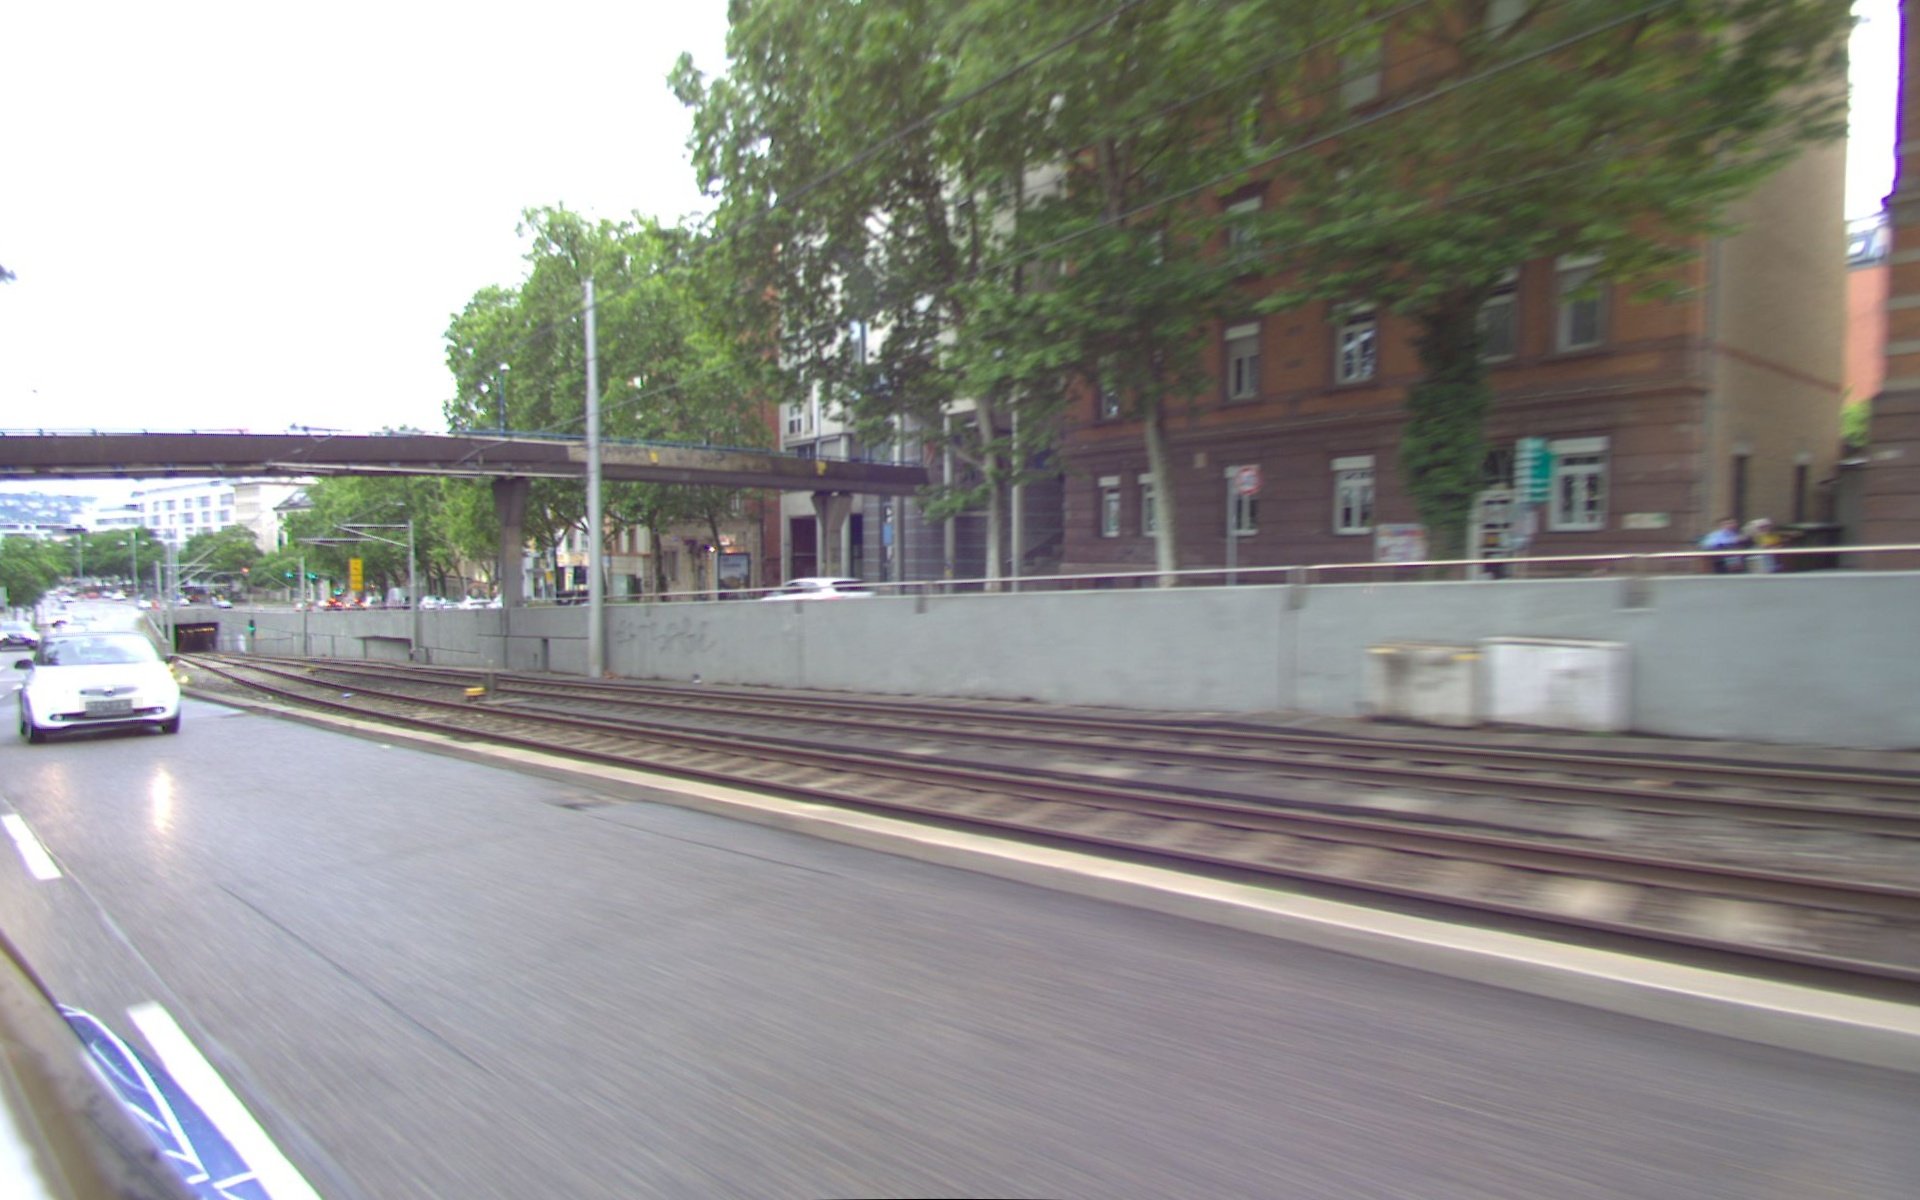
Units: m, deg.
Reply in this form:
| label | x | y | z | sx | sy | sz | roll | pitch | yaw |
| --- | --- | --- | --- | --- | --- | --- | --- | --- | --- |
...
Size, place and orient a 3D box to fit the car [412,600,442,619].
| label | x | y | z | sx | sy | sz | roll | pitch | yaw |
| --- | --- | --- | --- | --- | --- | --- | --- | --- | --- |
| car | -49.712 | 0.897 | 94.312 | 1.771 | 1.582 | 4.217 | -5 | 2 | -37 |

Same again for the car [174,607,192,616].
| label | x | y | z | sx | sy | sz | roll | pitch | yaw |
| --- | --- | --- | --- | --- | --- | --- | --- | --- | --- |
| car | -149.867 | 2.159 | 195.201 | 4.818 | 1.521 | 1.828 | -2 | 2 | 41 |

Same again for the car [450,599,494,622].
| label | x | y | z | sx | sy | sz | roll | pitch | yaw |
| --- | --- | --- | --- | --- | --- | --- | --- | --- | --- |
| car | -37.129 | 0.790 | 76.932 | 1.902 | 1.613 | 5.210 | -5 | 2 | -38 |

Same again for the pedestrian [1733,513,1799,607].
| label | x | y | z | sx | sy | sz | roll | pitch | yaw |
| --- | --- | --- | --- | --- | --- | --- | --- | --- | --- |
| pedestrian | 14.466 | -0.694 | 18.169 | 0.585 | 1.637 | 0.724 | 0 | -1 | -32 |

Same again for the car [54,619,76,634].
| label | x | y | z | sx | sy | sz | roll | pitch | yaw |
| --- | --- | --- | --- | --- | --- | --- | --- | --- | --- |
| car | -106.267 | 3.188 | 120.177 | 1.773 | 1.521 | 4.005 | -5 | 4 | -42 |

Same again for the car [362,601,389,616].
| label | x | y | z | sx | sy | sz | roll | pitch | yaw |
| --- | --- | --- | --- | --- | --- | --- | --- | --- | --- |
| car | -73.019 | 1.043 | 126.348 | 1.854 | 1.777 | 4.907 | -5 | 2 | -41 |

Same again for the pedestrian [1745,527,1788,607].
| label | x | y | z | sx | sy | sz | roll | pitch | yaw |
| --- | --- | --- | --- | --- | --- | --- | --- | --- | --- |
| pedestrian | 13.789 | -0.558 | 17.305 | 0.504 | 1.344 | 0.330 | -2 | -2 | 44 |

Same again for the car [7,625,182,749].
| label | x | y | z | sx | sy | sz | roll | pitch | yaw |
| --- | --- | --- | --- | --- | --- | --- | --- | --- | --- |
| car | -12.972 | 1.241 | 15.084 | 1.773 | 1.549 | 4.003 | 0 | -3 | -44 |

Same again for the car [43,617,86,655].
| label | x | y | z | sx | sy | sz | roll | pitch | yaw |
| --- | --- | --- | --- | --- | --- | --- | --- | --- | --- |
| car | -56.677 | 2.235 | 64.095 | 1.772 | 2.047 | 4.007 | -5 | 4 | -39 |

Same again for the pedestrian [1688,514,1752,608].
| label | x | y | z | sx | sy | sz | roll | pitch | yaw |
| --- | --- | --- | --- | --- | --- | --- | --- | --- | --- |
| pedestrian | 13.659 | -0.683 | 18.197 | 0.585 | 1.637 | 0.724 | 0 | -1 | -32 |

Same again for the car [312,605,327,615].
| label | x | y | z | sx | sy | sz | roll | pitch | yaw |
| --- | --- | --- | --- | --- | --- | --- | --- | --- | --- |
| car | -106.592 | 1.624 | 168.457 | 1.822 | 1.521 | 4.026 | -4 | 2 | -35 |

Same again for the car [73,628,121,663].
| label | x | y | z | sx | sy | sz | roll | pitch | yaw |
| --- | --- | --- | --- | --- | --- | --- | --- | --- | --- |
| car | -45.510 | 2.363 | 53.444 | 1.772 | 1.521 | 4.007 | -5 | 4 | -39 |

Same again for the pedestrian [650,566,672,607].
| label | x | y | z | sx | sy | sz | roll | pitch | yaw |
| --- | --- | --- | --- | --- | --- | --- | --- | --- | --- |
| pedestrian | -15.322 | -0.713 | 51.849 | 0.660 | 2.028 | 0.937 | -5 | 3 | -35 |

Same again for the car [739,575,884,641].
| label | x | y | z | sx | sy | sz | roll | pitch | yaw |
| --- | --- | --- | --- | --- | --- | --- | --- | --- | --- |
| car | -4.227 | 0.231 | 28.333 | 1.773 | 1.623 | 4.363 | -5 | 3 | -43 |

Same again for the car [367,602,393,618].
| label | x | y | z | sx | sy | sz | roll | pitch | yaw |
| --- | --- | --- | --- | --- | --- | --- | --- | --- | --- |
| car | -67.266 | 1.166 | 117.391 | 1.853 | 1.777 | 4.911 | -5 | 2 | -38 |

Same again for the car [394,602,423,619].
| label | x | y | z | sx | sy | sz | roll | pitch | yaw |
| --- | --- | --- | --- | --- | --- | --- | --- | --- | --- |
| car | -55.459 | 1.027 | 101.761 | 1.771 | 1.521 | 4.682 | -5 | 2 | -37 |

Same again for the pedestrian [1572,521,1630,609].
| label | x | y | z | sx | sy | sz | roll | pitch | yaw |
| --- | --- | --- | --- | --- | --- | --- | --- | --- | --- |
| pedestrian | 12.300 | -0.652 | 19.435 | 0.585 | 1.637 | 0.724 | 0 | -1 | -32 |

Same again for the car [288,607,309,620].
| label | x | y | z | sx | sy | sz | roll | pitch | yaw |
| --- | --- | --- | --- | --- | --- | --- | --- | --- | --- |
| car | -86.295 | 1.757 | 132.027 | 1.772 | 1.521 | 4.007 | -5 | 2 | -39 |

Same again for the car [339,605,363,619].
| label | x | y | z | sx | sy | sz | roll | pitch | yaw |
| --- | --- | --- | --- | --- | --- | --- | --- | --- | --- |
| car | -68.486 | 1.338 | 113.721 | 1.771 | 1.521 | 4.117 | -5 | 2 | -37 |

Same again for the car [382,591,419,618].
| label | x | y | z | sx | sy | sz | roll | pitch | yaw |
| --- | --- | --- | --- | --- | --- | --- | --- | --- | --- |
| car | -60.038 | 0.496 | 108.528 | 2.421 | 2.682 | 6.946 | -4 | 2 | -37 |

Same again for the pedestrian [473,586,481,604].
| label | x | y | z | sx | sy | sz | roll | pitch | yaw |
| --- | --- | --- | --- | --- | --- | --- | --- | --- | --- |
| pedestrian | -47.573 | -0.479 | 99.683 | 0.516 | 1.760 | 0.623 | -6 | 4 | -30 |

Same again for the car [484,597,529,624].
| label | x | y | z | sx | sy | sz | roll | pitch | yaw |
| --- | --- | --- | --- | --- | --- | --- | --- | --- | --- |
| car | -30.375 | 0.718 | 67.739 | 1.771 | 1.623 | 4.120 | -5 | 2 | -38 |

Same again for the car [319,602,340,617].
| label | x | y | z | sx | sy | sz | roll | pitch | yaw |
| --- | --- | --- | --- | --- | --- | --- | --- | --- | --- |
| car | -85.132 | 1.329 | 136.574 | 1.931 | 1.866 | 4.979 | -4 | 2 | -37 |

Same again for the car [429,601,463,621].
| label | x | y | z | sx | sy | sz | roll | pitch | yaw |
| --- | --- | --- | --- | --- | --- | --- | --- | --- | --- |
| car | -43.484 | 0.919 | 85.651 | 1.771 | 1.521 | 4.217 | -5 | 2 | -37 |

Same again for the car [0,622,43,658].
| label | x | y | z | sx | sy | sz | roll | pitch | yaw |
| --- | --- | --- | --- | --- | --- | --- | --- | --- | --- |
| car | -51.897 | 2.204 | 55.711 | 1.772 | 1.678 | 4.007 | -5 | 4 | -39 |
